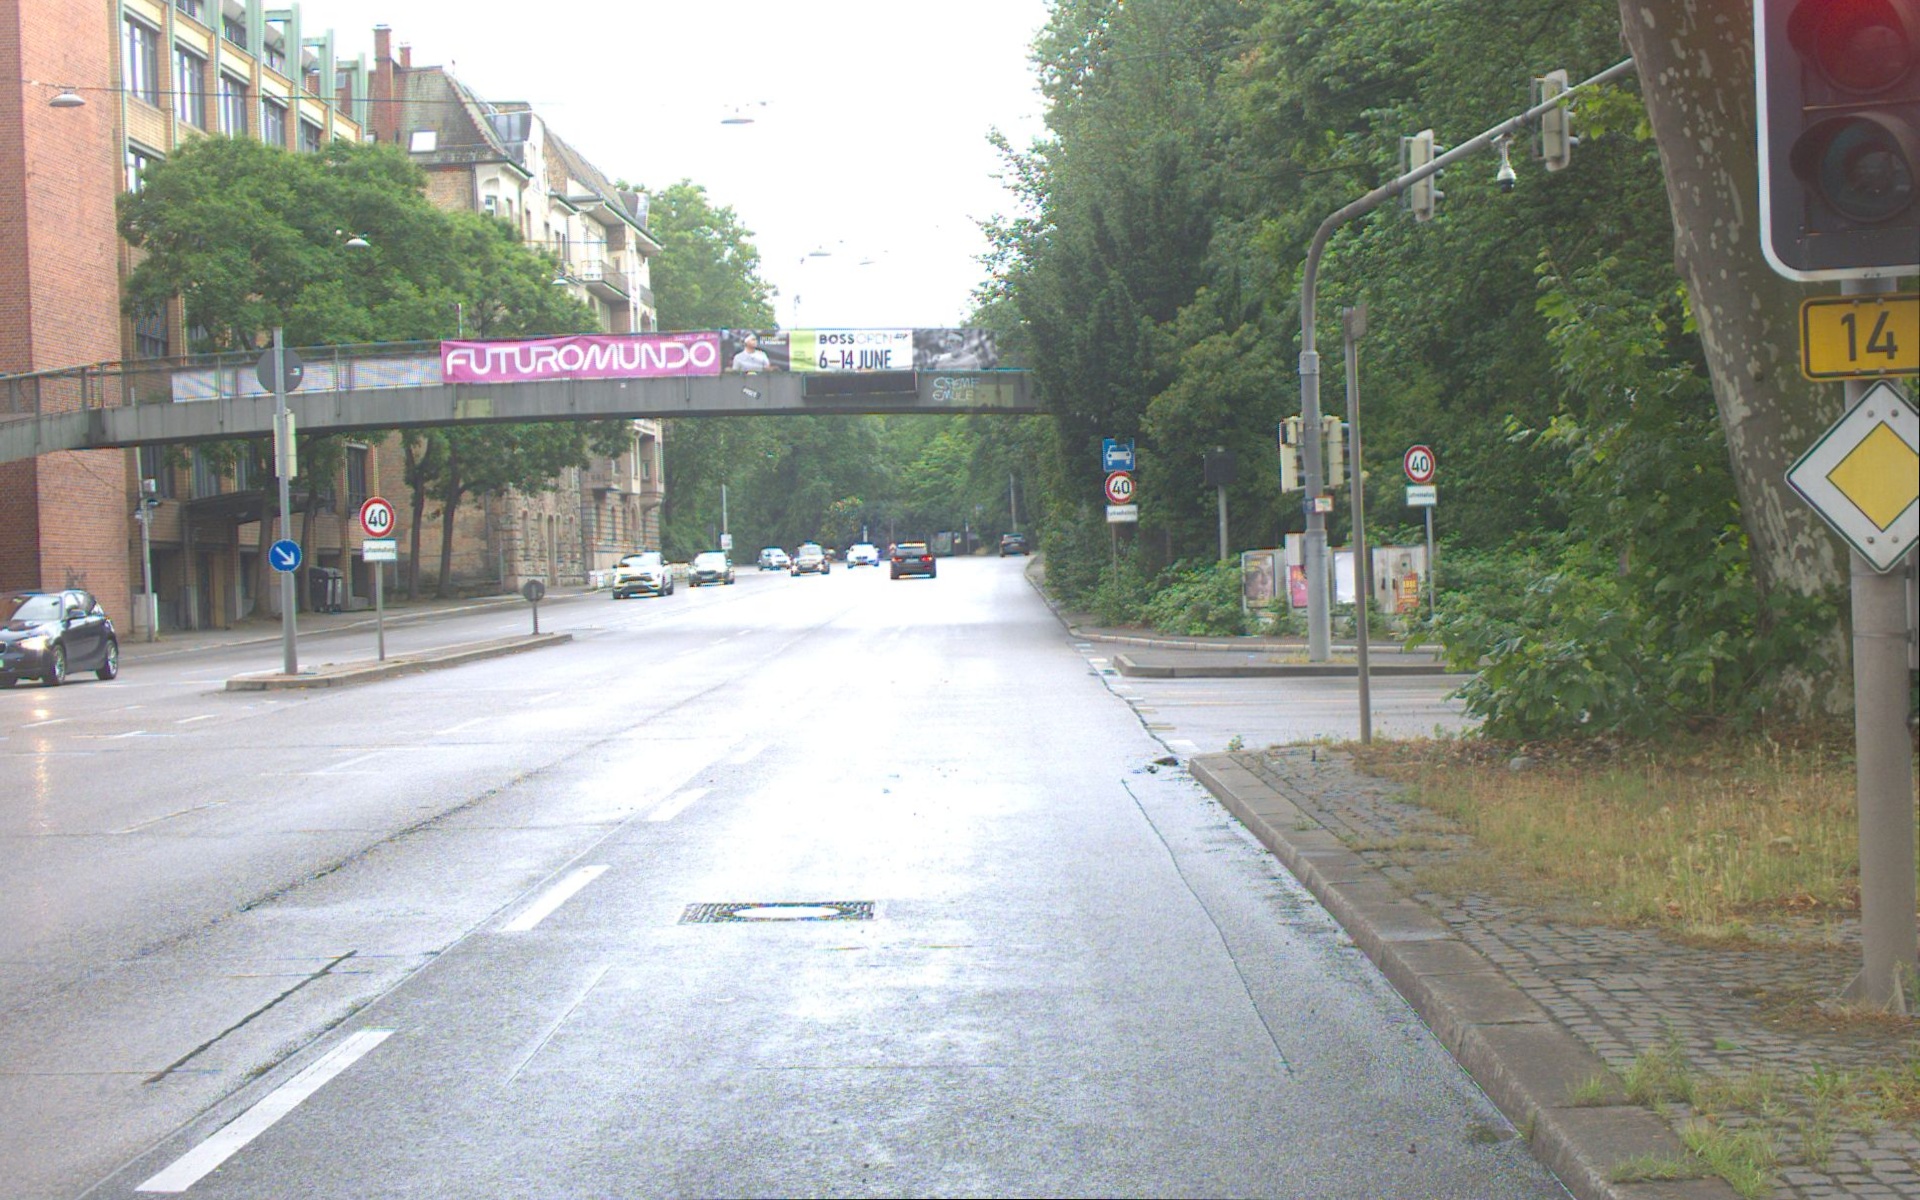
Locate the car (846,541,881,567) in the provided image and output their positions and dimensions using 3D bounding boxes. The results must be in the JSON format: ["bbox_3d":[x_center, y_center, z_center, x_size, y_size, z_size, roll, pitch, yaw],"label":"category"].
[{"bbox_3d":[-5.678,-2.692,202.244,1.830,1.389,4.405,-3,0,1],"label":"car"}]

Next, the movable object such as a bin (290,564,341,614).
[{"bbox_3d":[-20.089,-0.352,107.133,1.282,1.513,1.273,-1,1,1],"label":"movable object such as a bin"}]

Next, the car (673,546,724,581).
[{"bbox_3d":[-11.502,-1.616,151.183,1.709,1.459,4.041,-2,0,3],"label":"car"}]

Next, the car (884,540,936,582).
[{"bbox_3d":[-2.060,-1.579,139.820,2.004,1.638,4.376,-2,1,-2],"label":"car"}]

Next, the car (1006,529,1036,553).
[{"bbox_3d":[3.860,-3.703,216.913,1.842,1.448,3.776,1,1,2],"label":"car"}]

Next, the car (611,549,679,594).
[{"bbox_3d":[-11.500,-1.045,125.890,1.890,1.604,4.456,-1,0,2],"label":"car"}]

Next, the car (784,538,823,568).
[{"bbox_3d":[-7.672,-2.302,168.659,1.683,1.431,3.862,-2,0,1],"label":"car"}]

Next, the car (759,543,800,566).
[{"bbox_3d":[-12.996,-3.286,247.523,1.600,1.494,3.712,-3,0,-25],"label":"car"}]

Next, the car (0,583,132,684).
[{"bbox_3d":[-13.751,0.493,50.945,1.686,1.414,4.214,-2,0,3],"label":"car"}]
